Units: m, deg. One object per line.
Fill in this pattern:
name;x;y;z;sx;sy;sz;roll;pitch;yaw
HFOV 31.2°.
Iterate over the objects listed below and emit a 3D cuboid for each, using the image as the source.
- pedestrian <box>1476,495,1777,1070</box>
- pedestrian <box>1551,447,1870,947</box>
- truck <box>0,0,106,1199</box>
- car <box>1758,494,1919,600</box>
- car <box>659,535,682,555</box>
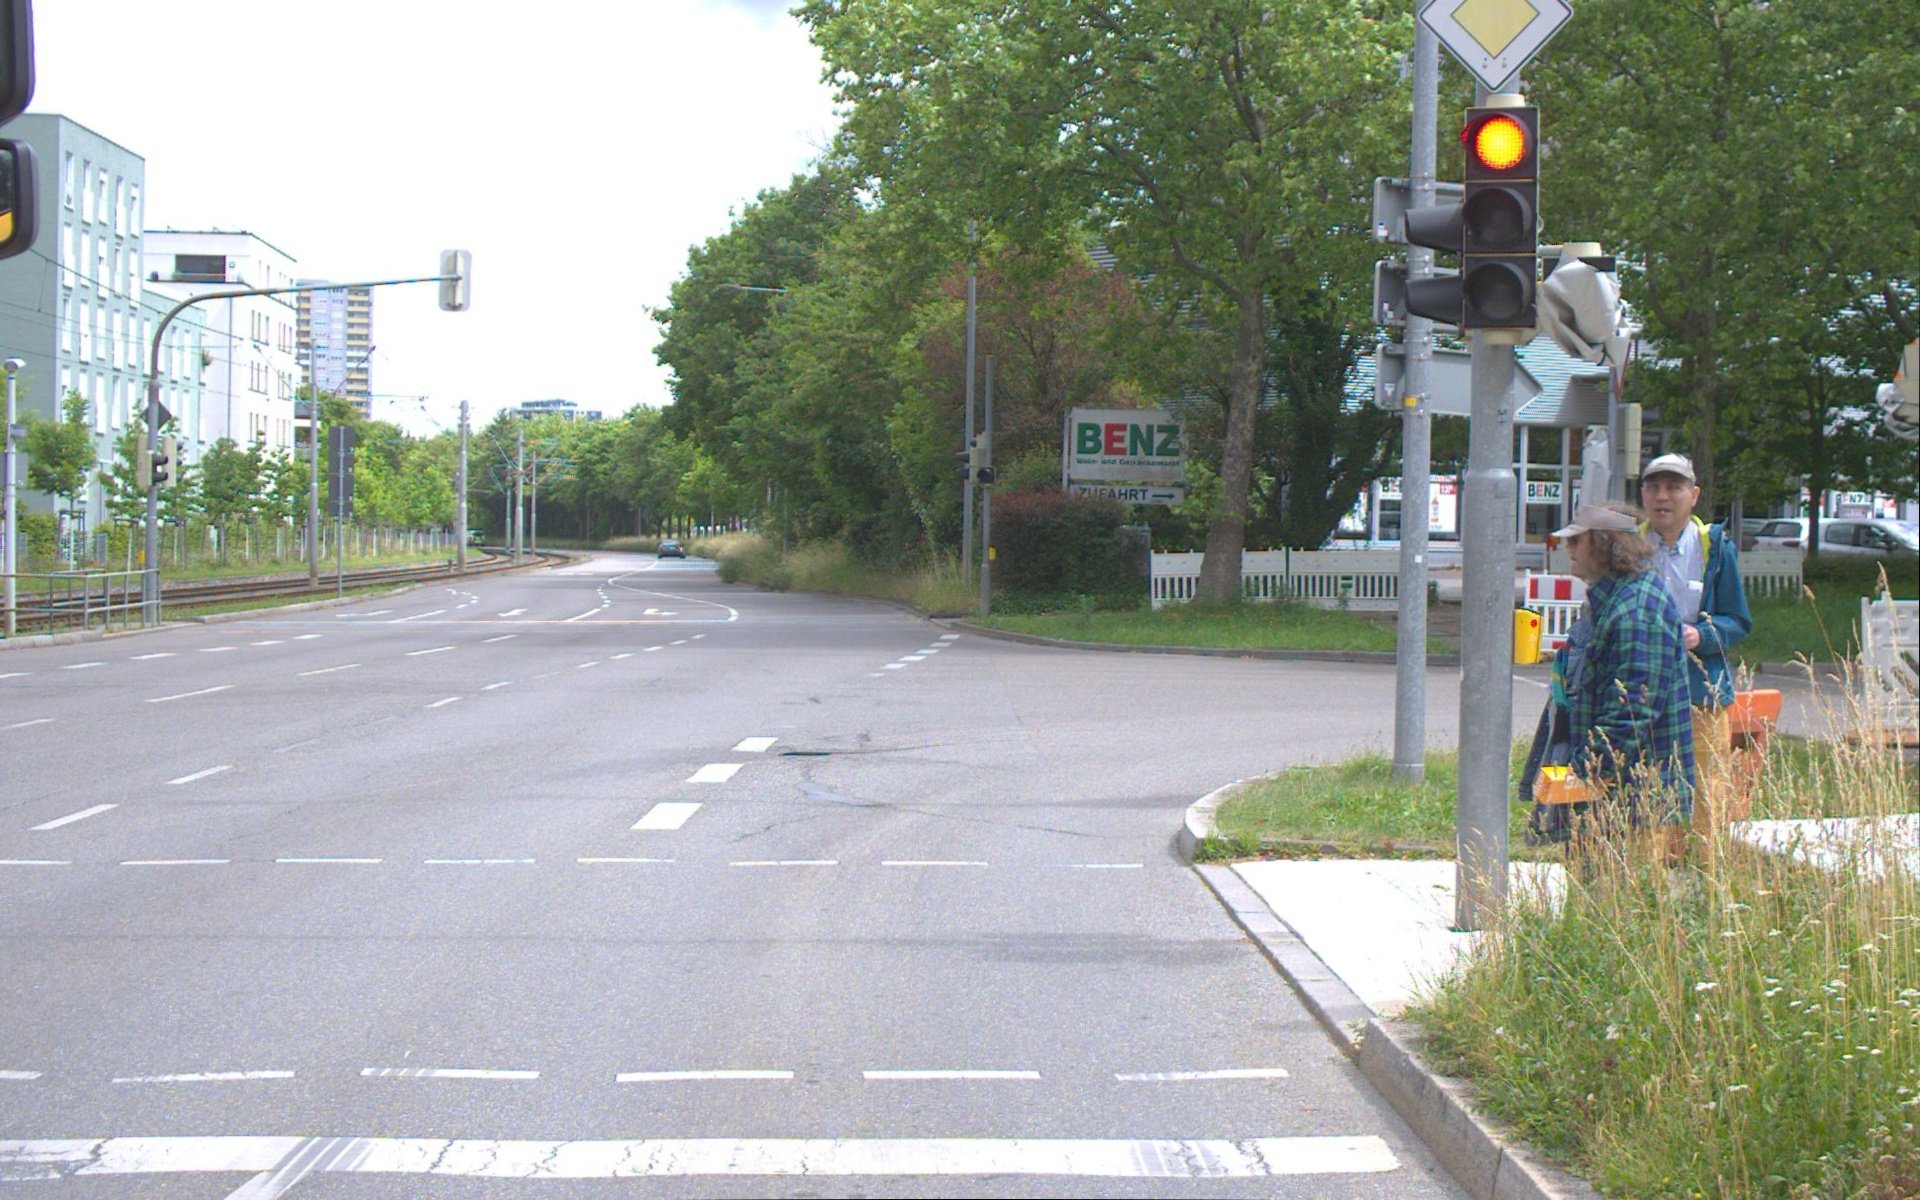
pedestrian;2.032;0.520;10.431;0.823;1.665;0.733;1;1;16
pedestrian;2.750;0.335;12.708;0.945;1.768;1.013;0;1;0
truck;-3.097;-0.244;2.769;3.049;3.382;8.007;0;1;-2
car;17.835;-1.043;67.429;1.993;2.007;4.000;0;1;-31
car;-20.791;-3.957;247.163;1.594;1.349;4.001;1;1;-5
